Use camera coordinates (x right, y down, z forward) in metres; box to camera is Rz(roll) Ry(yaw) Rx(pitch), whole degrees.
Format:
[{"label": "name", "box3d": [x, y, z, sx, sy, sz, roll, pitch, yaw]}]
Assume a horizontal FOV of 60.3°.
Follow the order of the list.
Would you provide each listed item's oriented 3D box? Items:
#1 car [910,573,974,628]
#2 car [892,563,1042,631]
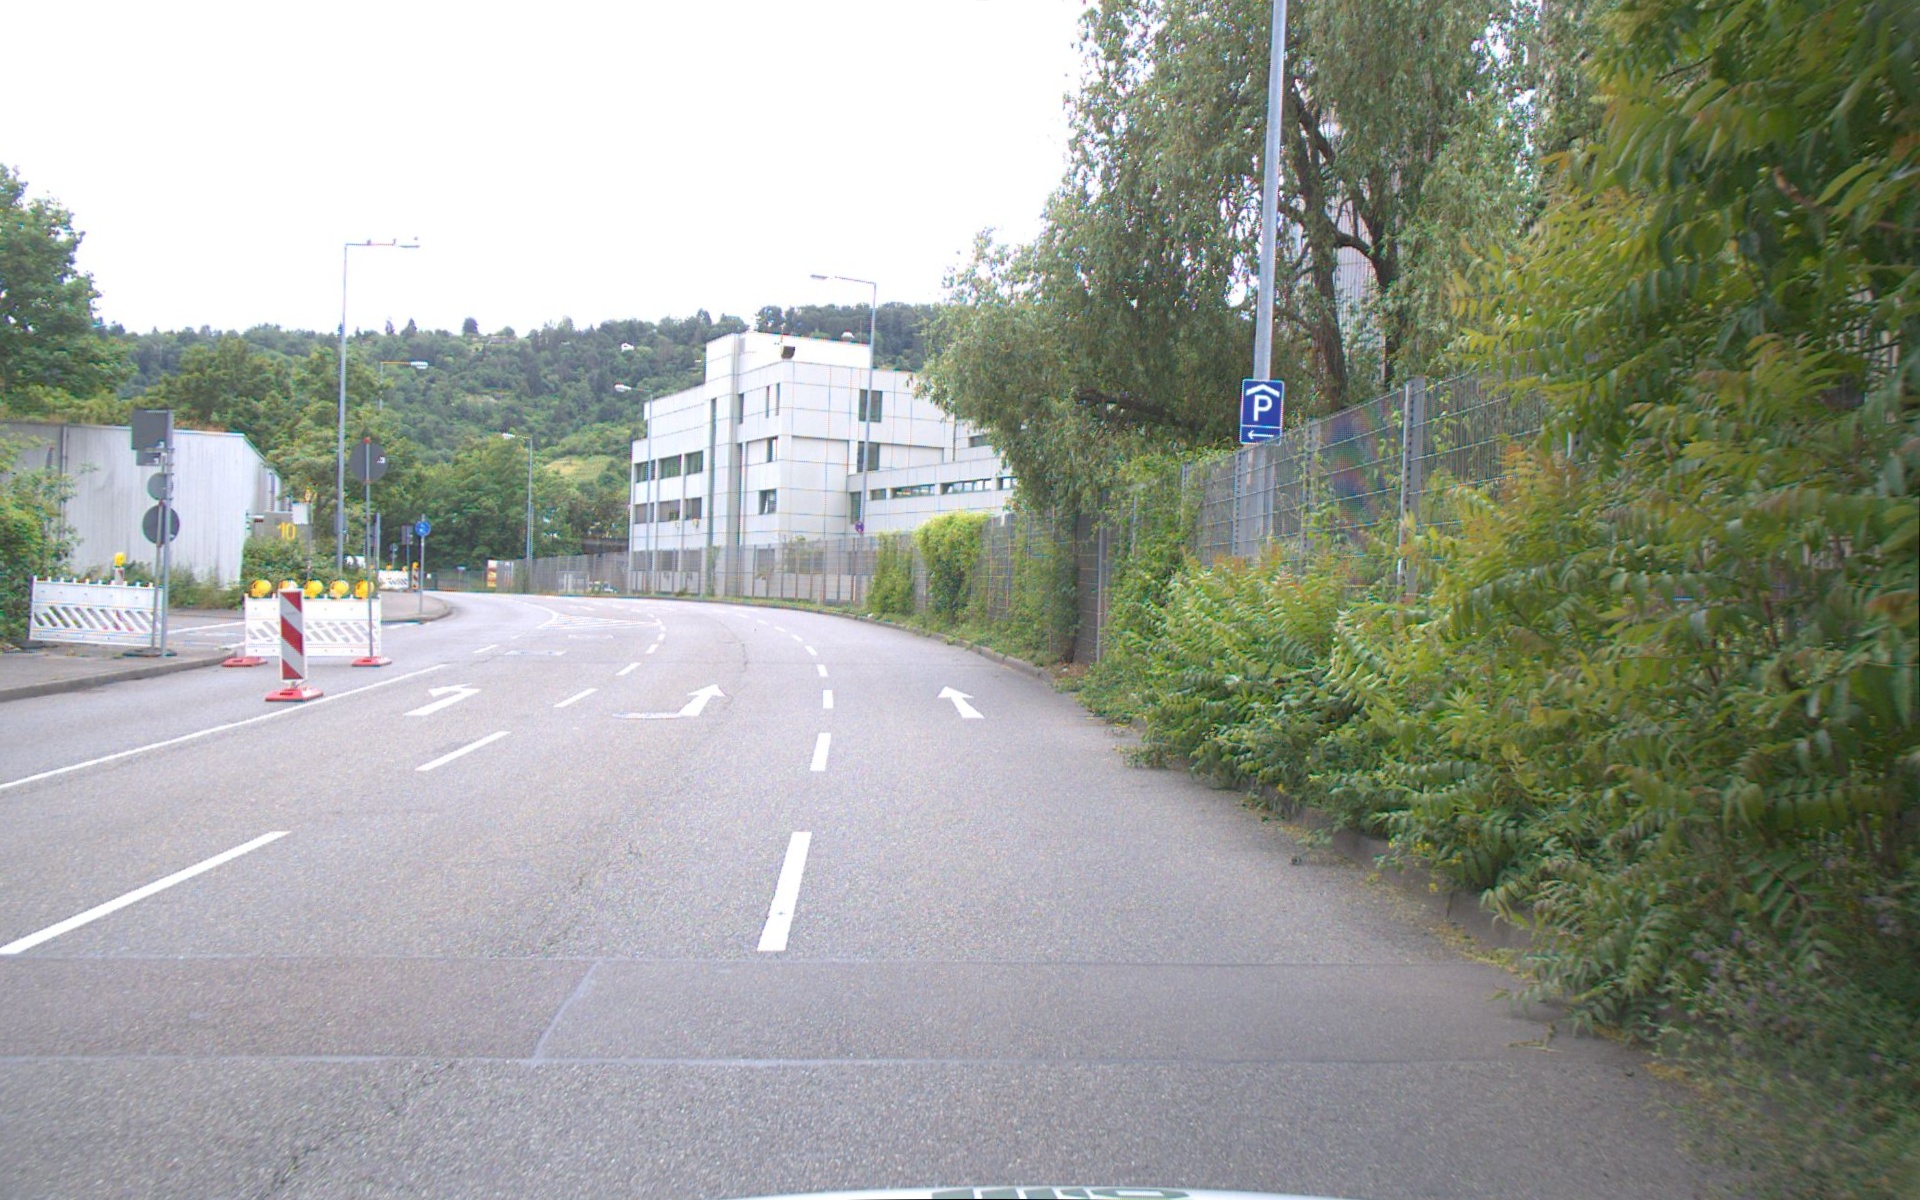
[{"label": "car", "box3d": [-0.752, 0.071, 66.171, 1.956, 2.049, 4.837, 2, -1, -8]}, {"label": "car", "box3d": [0.204, -0.156, 63.846, 6.067, 2.302, 1.986, 3, 0, 45]}]
